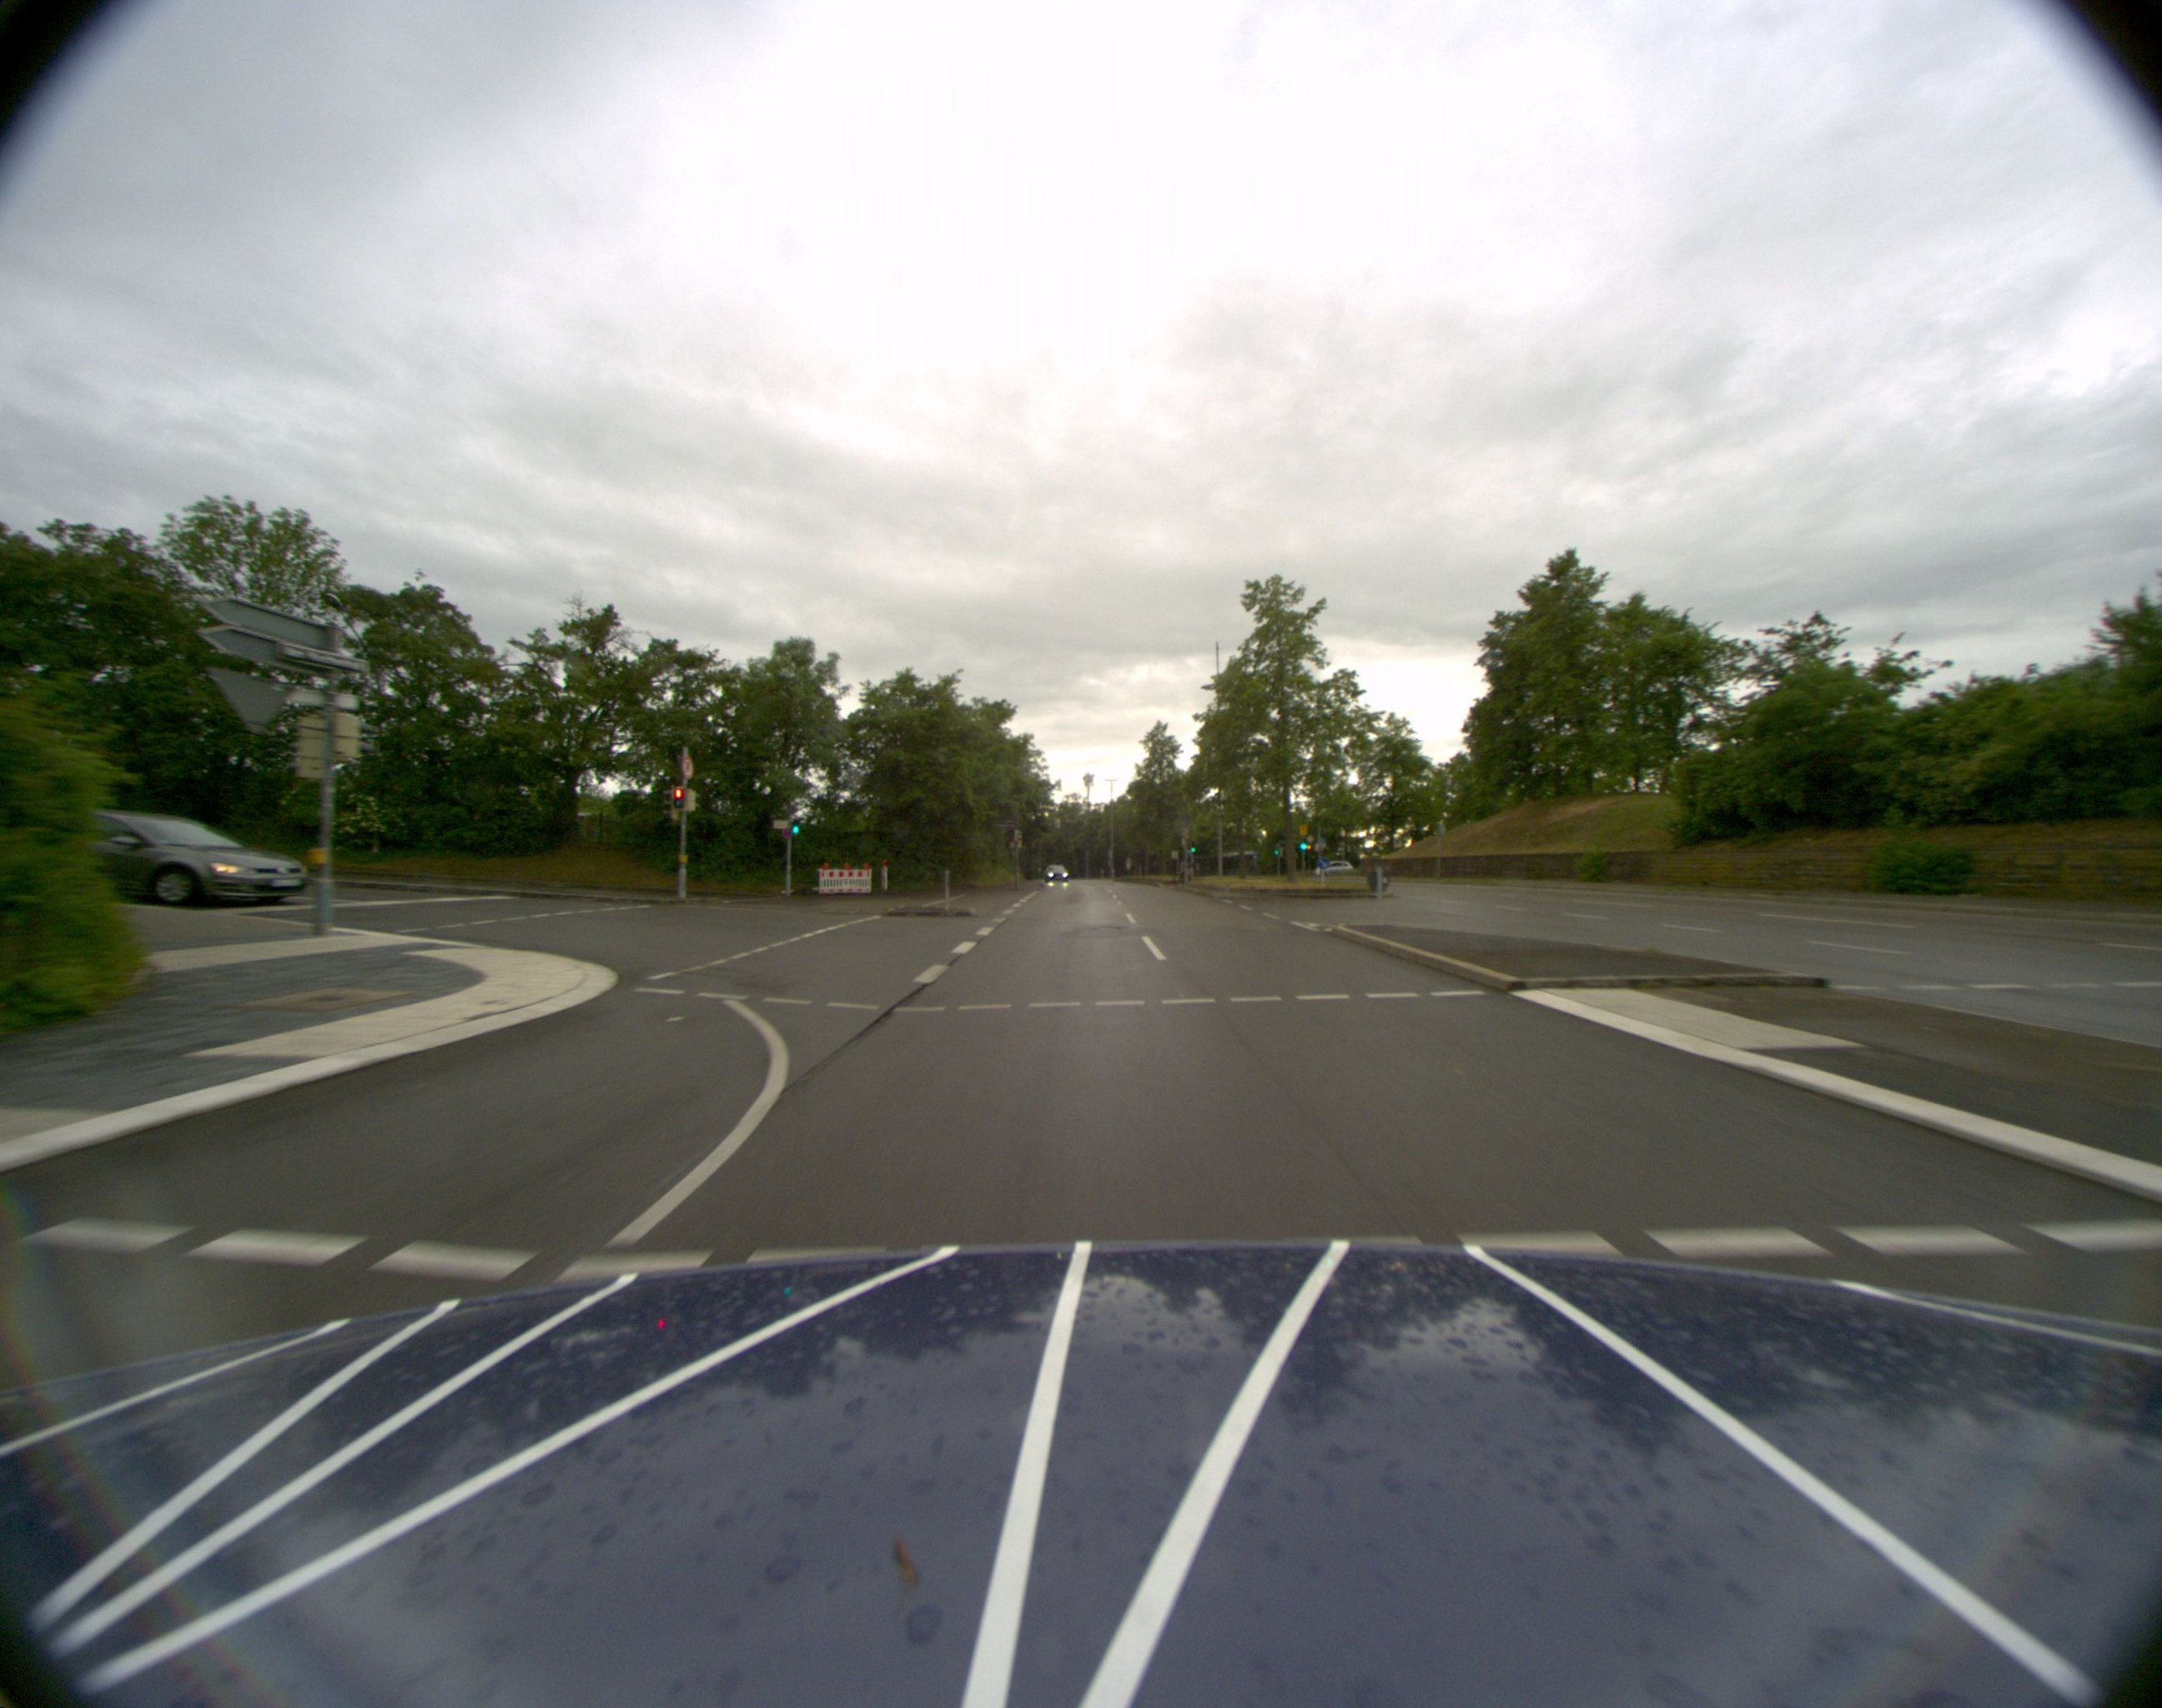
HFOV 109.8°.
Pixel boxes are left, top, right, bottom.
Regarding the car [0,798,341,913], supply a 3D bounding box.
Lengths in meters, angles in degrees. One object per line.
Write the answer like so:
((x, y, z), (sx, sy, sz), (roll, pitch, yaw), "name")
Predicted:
((-15.700, 0.022, 12.876), (4.088, 1.445, 1.889), (6, -1, -8), "car")

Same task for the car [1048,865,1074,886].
((-1.715, 1.840, 64.229), (1.999, 1.576, 4.001), (2, -3, -3), "car")
